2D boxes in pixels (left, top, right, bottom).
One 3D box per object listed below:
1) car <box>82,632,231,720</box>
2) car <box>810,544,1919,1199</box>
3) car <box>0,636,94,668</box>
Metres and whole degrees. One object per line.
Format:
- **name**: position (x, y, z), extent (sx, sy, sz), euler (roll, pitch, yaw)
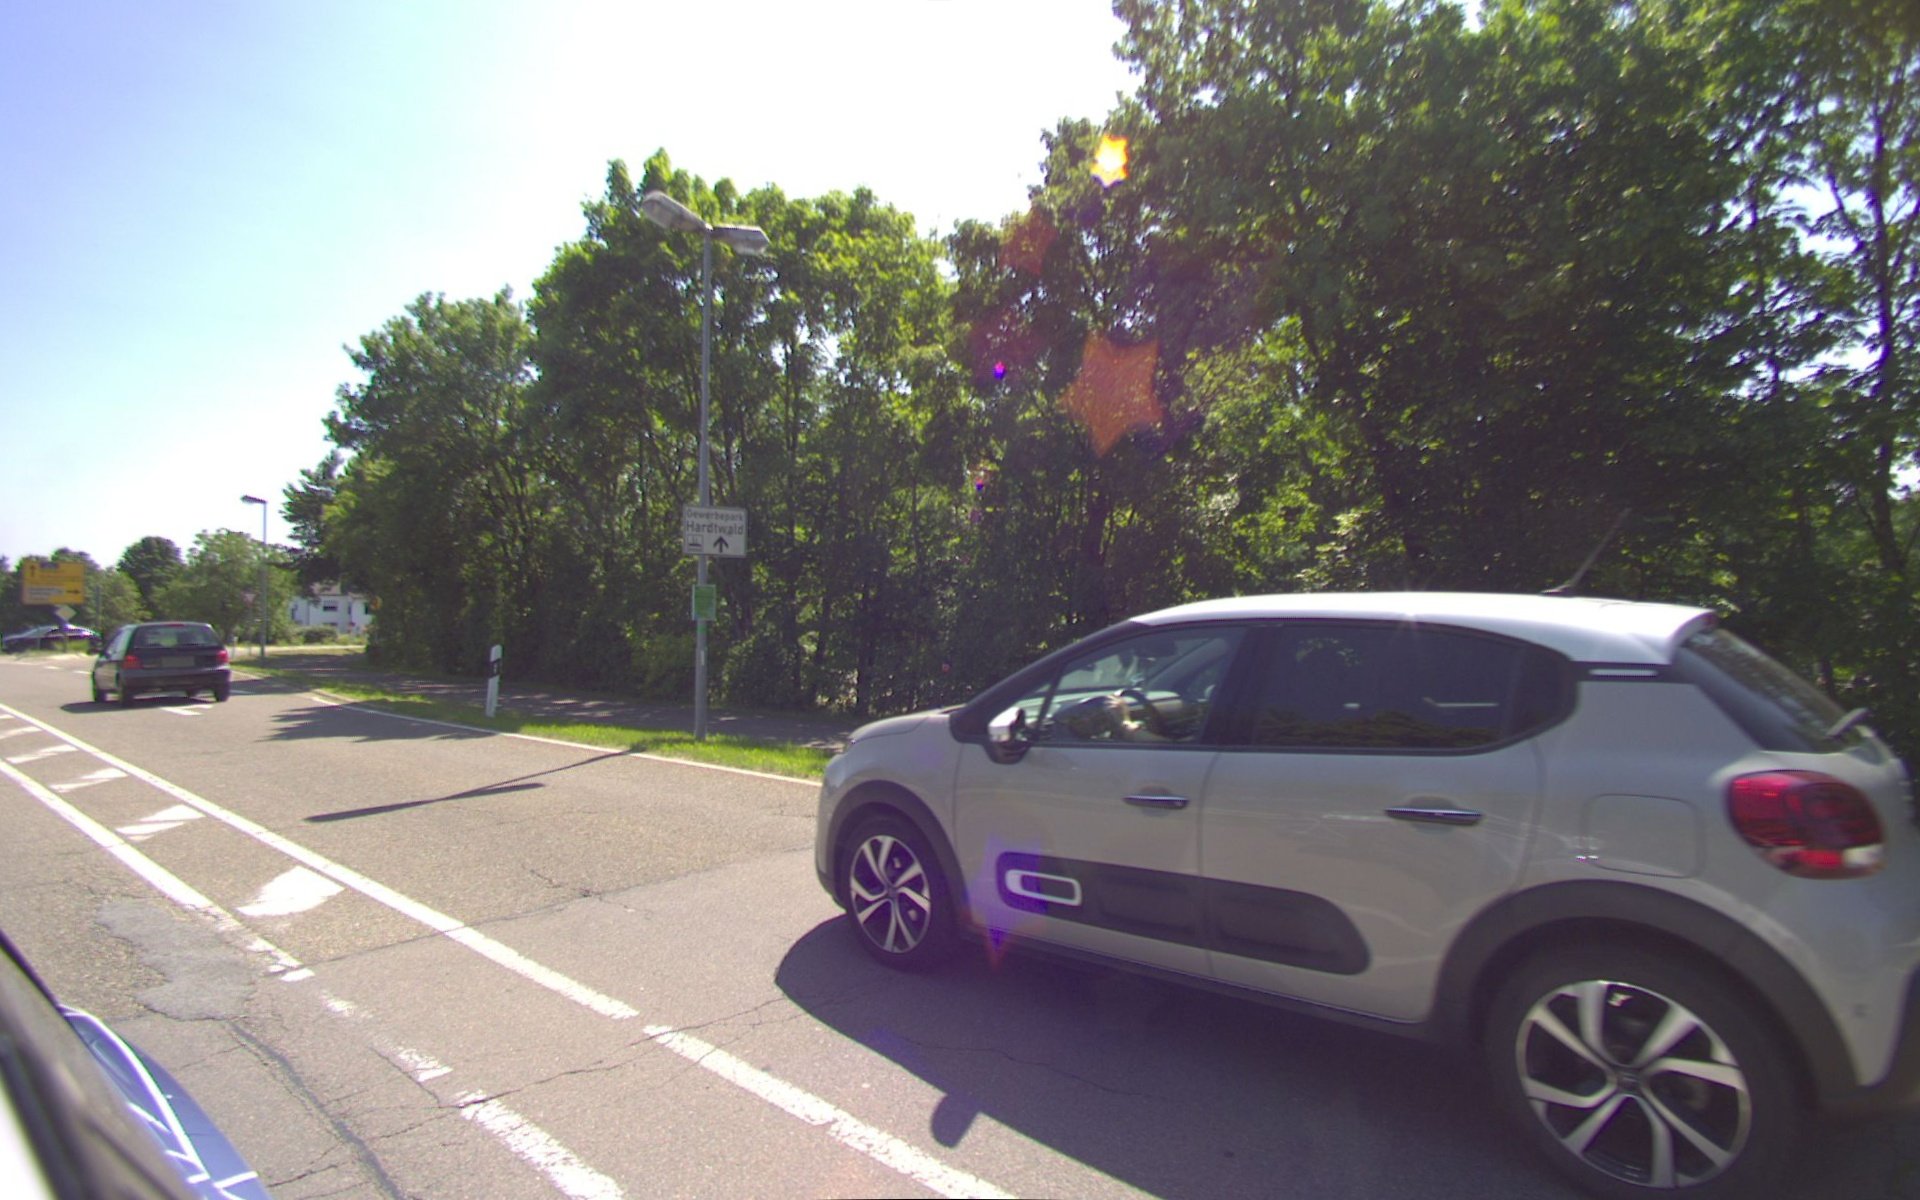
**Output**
- **car**: position (-14.773, 1.324, 18.555), extent (3.432, 1.415, 1.609), euler (-2, -1, 42)
- **car**: position (1.371, 0.686, 3.593), extent (3.888, 1.467, 1.720), euler (-3, -3, 43)
- **car**: position (-52.330, 2.943, 57.587), extent (1.735, 1.658, 4.348), euler (-4, -3, 19)
